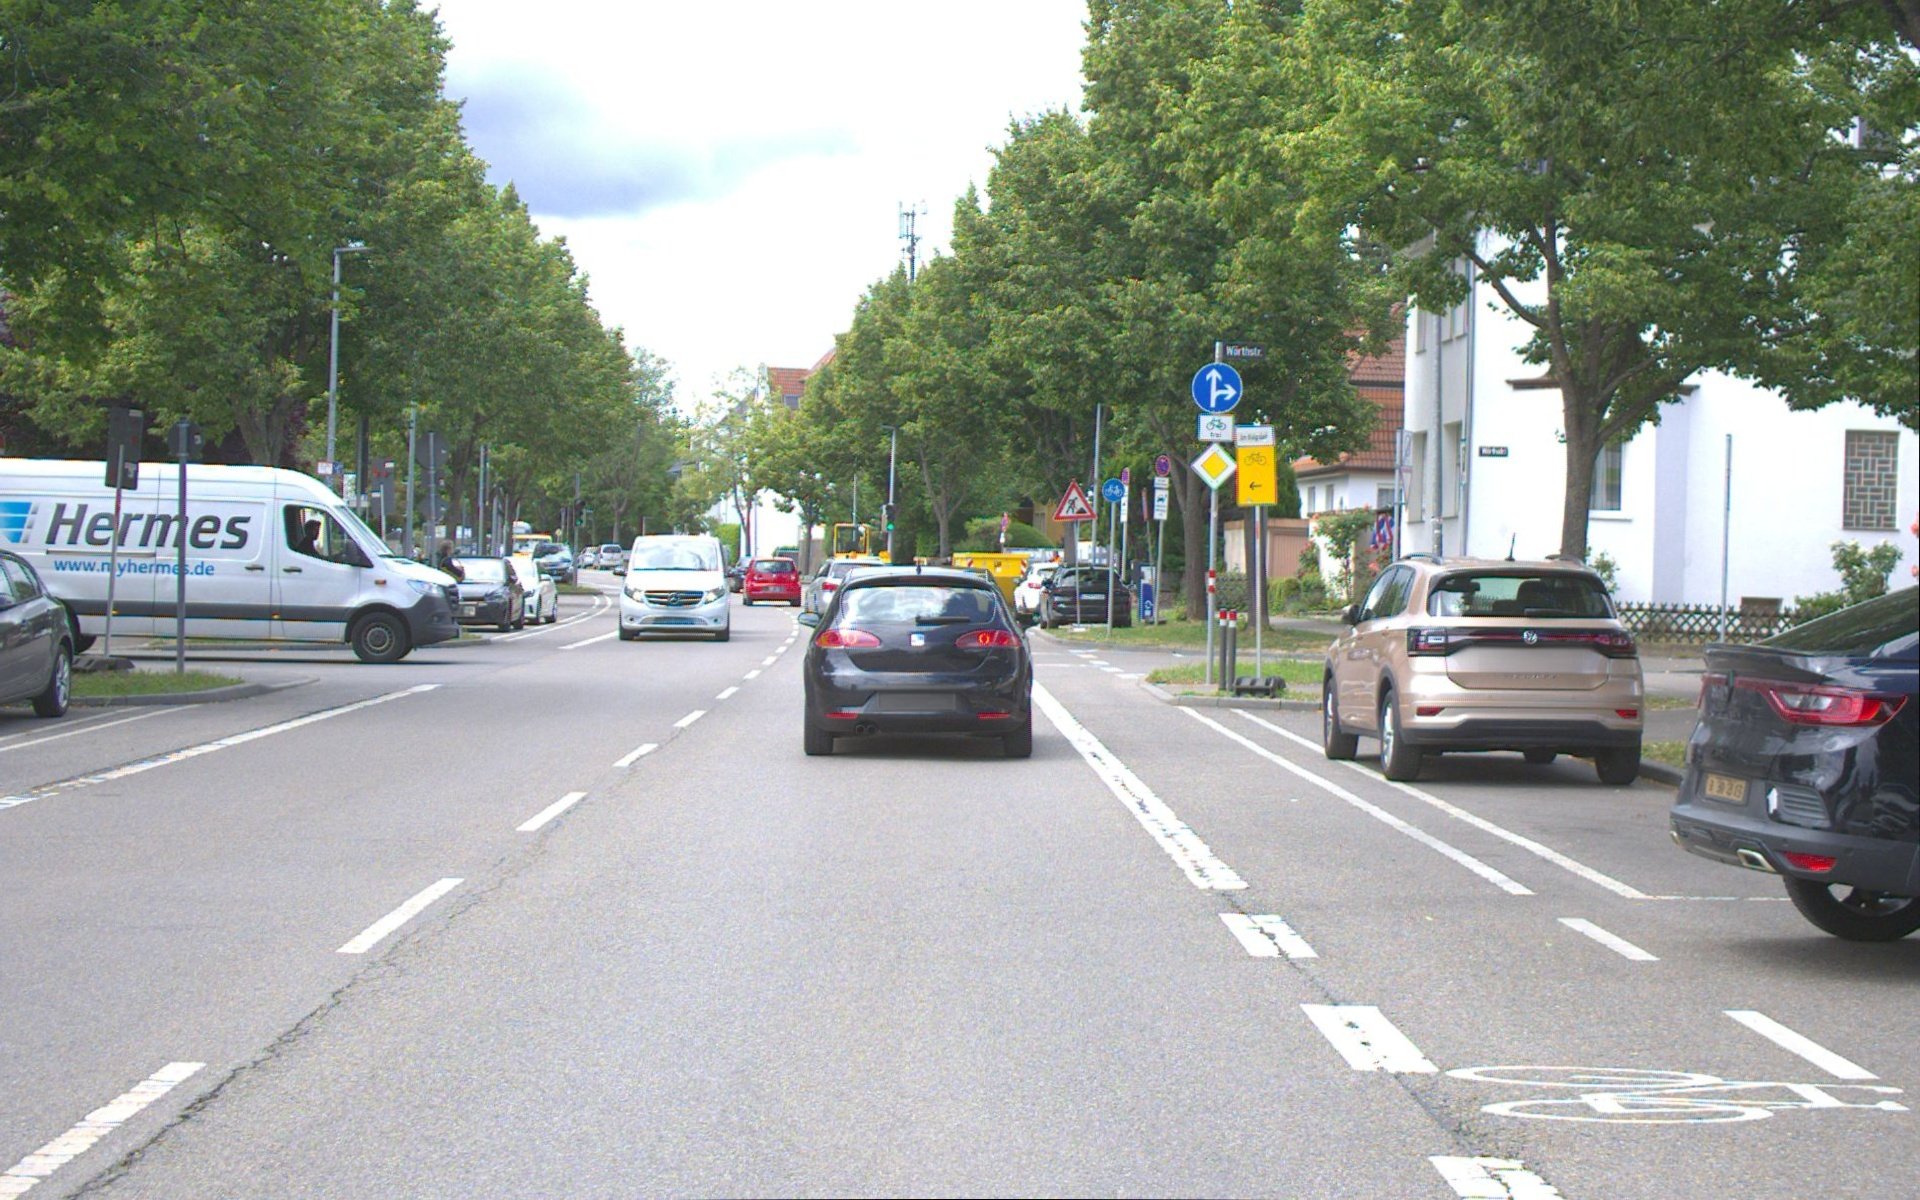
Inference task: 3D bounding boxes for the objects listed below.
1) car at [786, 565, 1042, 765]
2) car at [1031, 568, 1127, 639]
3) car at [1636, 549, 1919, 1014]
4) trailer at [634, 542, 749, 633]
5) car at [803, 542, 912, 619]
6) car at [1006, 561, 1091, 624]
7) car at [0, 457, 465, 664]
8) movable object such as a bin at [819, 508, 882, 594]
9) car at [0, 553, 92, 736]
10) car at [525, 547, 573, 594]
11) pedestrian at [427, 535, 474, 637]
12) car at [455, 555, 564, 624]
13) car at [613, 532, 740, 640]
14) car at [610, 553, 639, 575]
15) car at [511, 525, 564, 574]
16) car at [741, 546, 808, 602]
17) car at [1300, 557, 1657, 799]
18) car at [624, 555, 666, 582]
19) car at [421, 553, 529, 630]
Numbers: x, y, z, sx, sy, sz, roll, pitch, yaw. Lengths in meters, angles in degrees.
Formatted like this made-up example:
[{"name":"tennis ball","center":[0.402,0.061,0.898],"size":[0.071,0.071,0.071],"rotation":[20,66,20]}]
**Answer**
[{"name":"car","center":[-0.432,0.460,26.987],"size":[1.818,1.433,3.740],"rotation":[1,1,-3]},{"name":"car","center":[2.534,0.047,74.054],"size":[1.705,1.449,4.617],"rotation":[1,1,-2]},{"name":"car","center":[4.898,0.635,13.138],"size":[4.216,1.632,1.694],"rotation":[0,1,-6]},{"name":"trailer","center":[-5.165,-0.262,66.595],"size":[1.938,1.671,4.689],"rotation":[1,1,-1]},{"name":"car","center":[-2.344,-0.460,77.720],"size":[1.905,1.680,3.741],"rotation":[1,1,-10]},{"name":"car","center":[2.139,-0.203,83.891],"size":[1.672,1.457,4.001],"rotation":[1,1,-4]},{"name":"car","center":[-10.426,-0.543,46.257],"size":[7.287,2.585,2.221],"rotation":[1,1,-4]},{"name":"movable object such as a bin","center":[-3.404,-1.503,106.030],"size":[1.768,2.565,3.740],"rotation":[1,1,-3]},{"name":"car","center":[-8.579,0.341,28.385],"size":[1.731,1.464,4.301],"rotation":[1,1,0]},{"name":"car","center":[-15.879,-1.139,132.732],"size":[1.667,1.766,4.469],"rotation":[0,1,-9]},{"name":"pedestrian","center":[-8.587,-0.249,57.971],"size":[0.542,1.675,0.750],"rotation":[3,2,7]},{"name":"car","center":[-9.537,-0.234,73.076],"size":[1.714,1.401,4.300],"rotation":[1,1,0]},{"name":"car","center":[-5.053,-0.277,61.836],"size":[1.966,1.824,4.819],"rotation":[1,1,-1]},{"name":"car","center":[-22.327,-2.405,228.693],"size":[1.809,1.410,3.694],"rotation":[1,1,-7]},{"name":"car","center":[-19.042,-2.277,154.793],"size":[2.092,2.168,5.046],"rotation":[1,1,-9]},{"name":"car","center":[-5.570,-0.796,102.737],"size":[1.790,1.617,3.740],"rotation":[1,1,-6]},{"name":"car","center":[3.663,0.495,24.966],"size":[1.721,1.575,4.061],"rotation":[1,1,-3]},{"name":"car","center":[-17.150,-1.733,187.199],"size":[1.809,1.410,3.694],"rotation":[1,1,-13]},{"name":"car","center":[-9.290,-0.179,66.061],"size":[1.643,1.415,4.021],"rotation":[1,1,-2]}]
